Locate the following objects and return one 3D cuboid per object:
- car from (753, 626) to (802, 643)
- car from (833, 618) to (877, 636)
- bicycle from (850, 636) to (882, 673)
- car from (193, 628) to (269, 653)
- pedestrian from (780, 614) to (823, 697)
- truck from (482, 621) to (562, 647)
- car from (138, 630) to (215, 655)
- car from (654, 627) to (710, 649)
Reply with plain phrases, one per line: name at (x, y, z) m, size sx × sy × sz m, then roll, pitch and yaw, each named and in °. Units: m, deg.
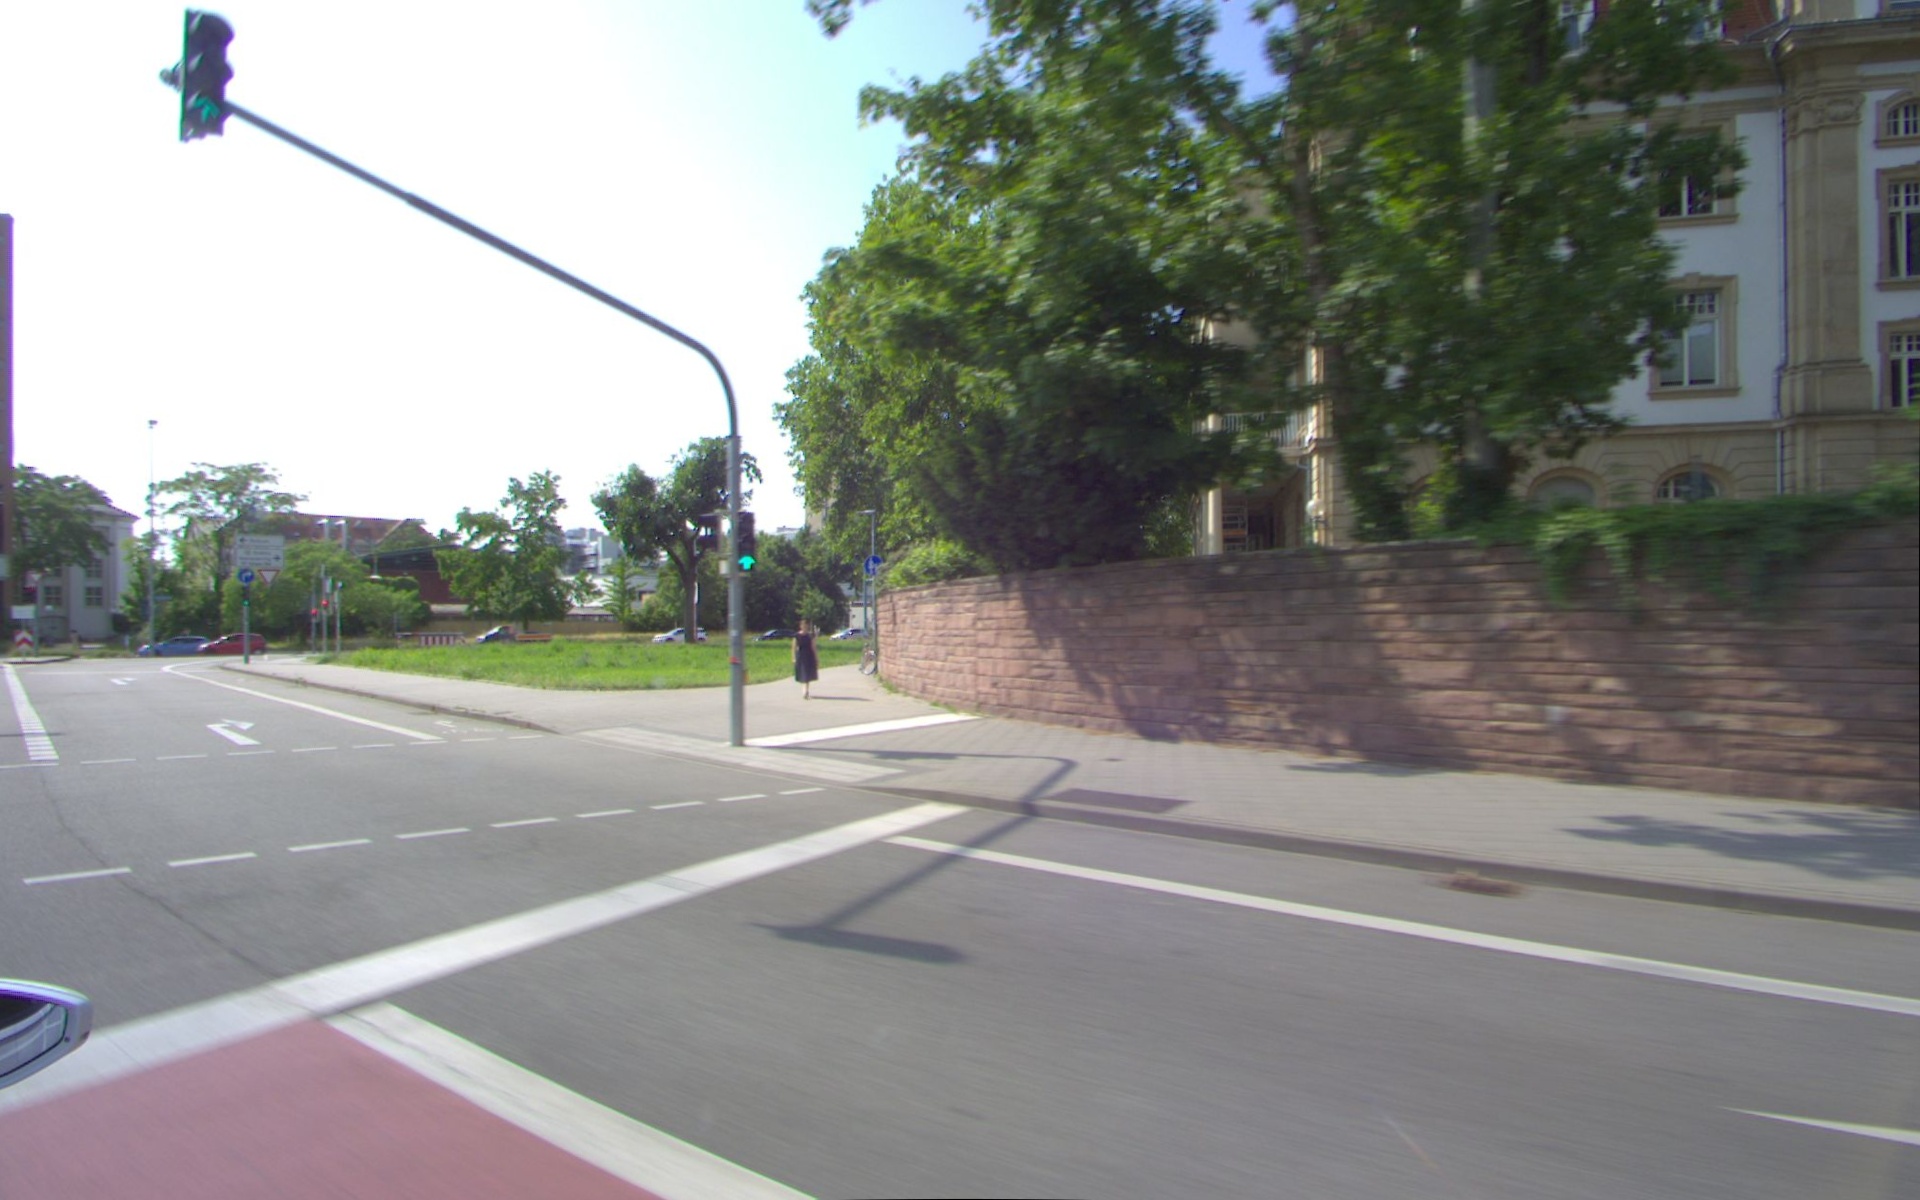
car at (-15.872, 2.993, 87.162) m, size 3.882 × 1.437 × 1.612 m, roll 1°, pitch -1°, yaw -41°
car at (-9.681, 2.499, 92.654) m, size 3.881 × 1.630 × 1.613 m, roll 0°, pitch -1°, yaw -40°
bicycle at (-2.747, 1.590, 29.465) m, size 0.633 × 0.987 × 1.595 m, roll -2°, pitch -1°, yaw 5°
car at (-45.663, 2.499, 62.812) m, size 3.685 × 1.475 × 1.617 m, roll 0°, pitch -1°, yaw -32°
pedestrian at (-3.274, 1.133, 20.697) m, size 0.735 × 1.660 × 0.887 m, roll -1°, pitch -1°, yaw -1°
truck at (-32.030, 2.458, 73.255) m, size 5.069 × 1.861 × 1.986 m, roll 0°, pitch -1°, yaw -36°
car at (-49.517, 2.667, 63.380) m, size 3.685 × 1.475 × 1.617 m, roll 0°, pitch -1°, yaw -32°
car at (-22.498, 3.058, 81.208) m, size 4.120 × 1.630 × 1.612 m, roll 1°, pitch -1°, yaw -41°
